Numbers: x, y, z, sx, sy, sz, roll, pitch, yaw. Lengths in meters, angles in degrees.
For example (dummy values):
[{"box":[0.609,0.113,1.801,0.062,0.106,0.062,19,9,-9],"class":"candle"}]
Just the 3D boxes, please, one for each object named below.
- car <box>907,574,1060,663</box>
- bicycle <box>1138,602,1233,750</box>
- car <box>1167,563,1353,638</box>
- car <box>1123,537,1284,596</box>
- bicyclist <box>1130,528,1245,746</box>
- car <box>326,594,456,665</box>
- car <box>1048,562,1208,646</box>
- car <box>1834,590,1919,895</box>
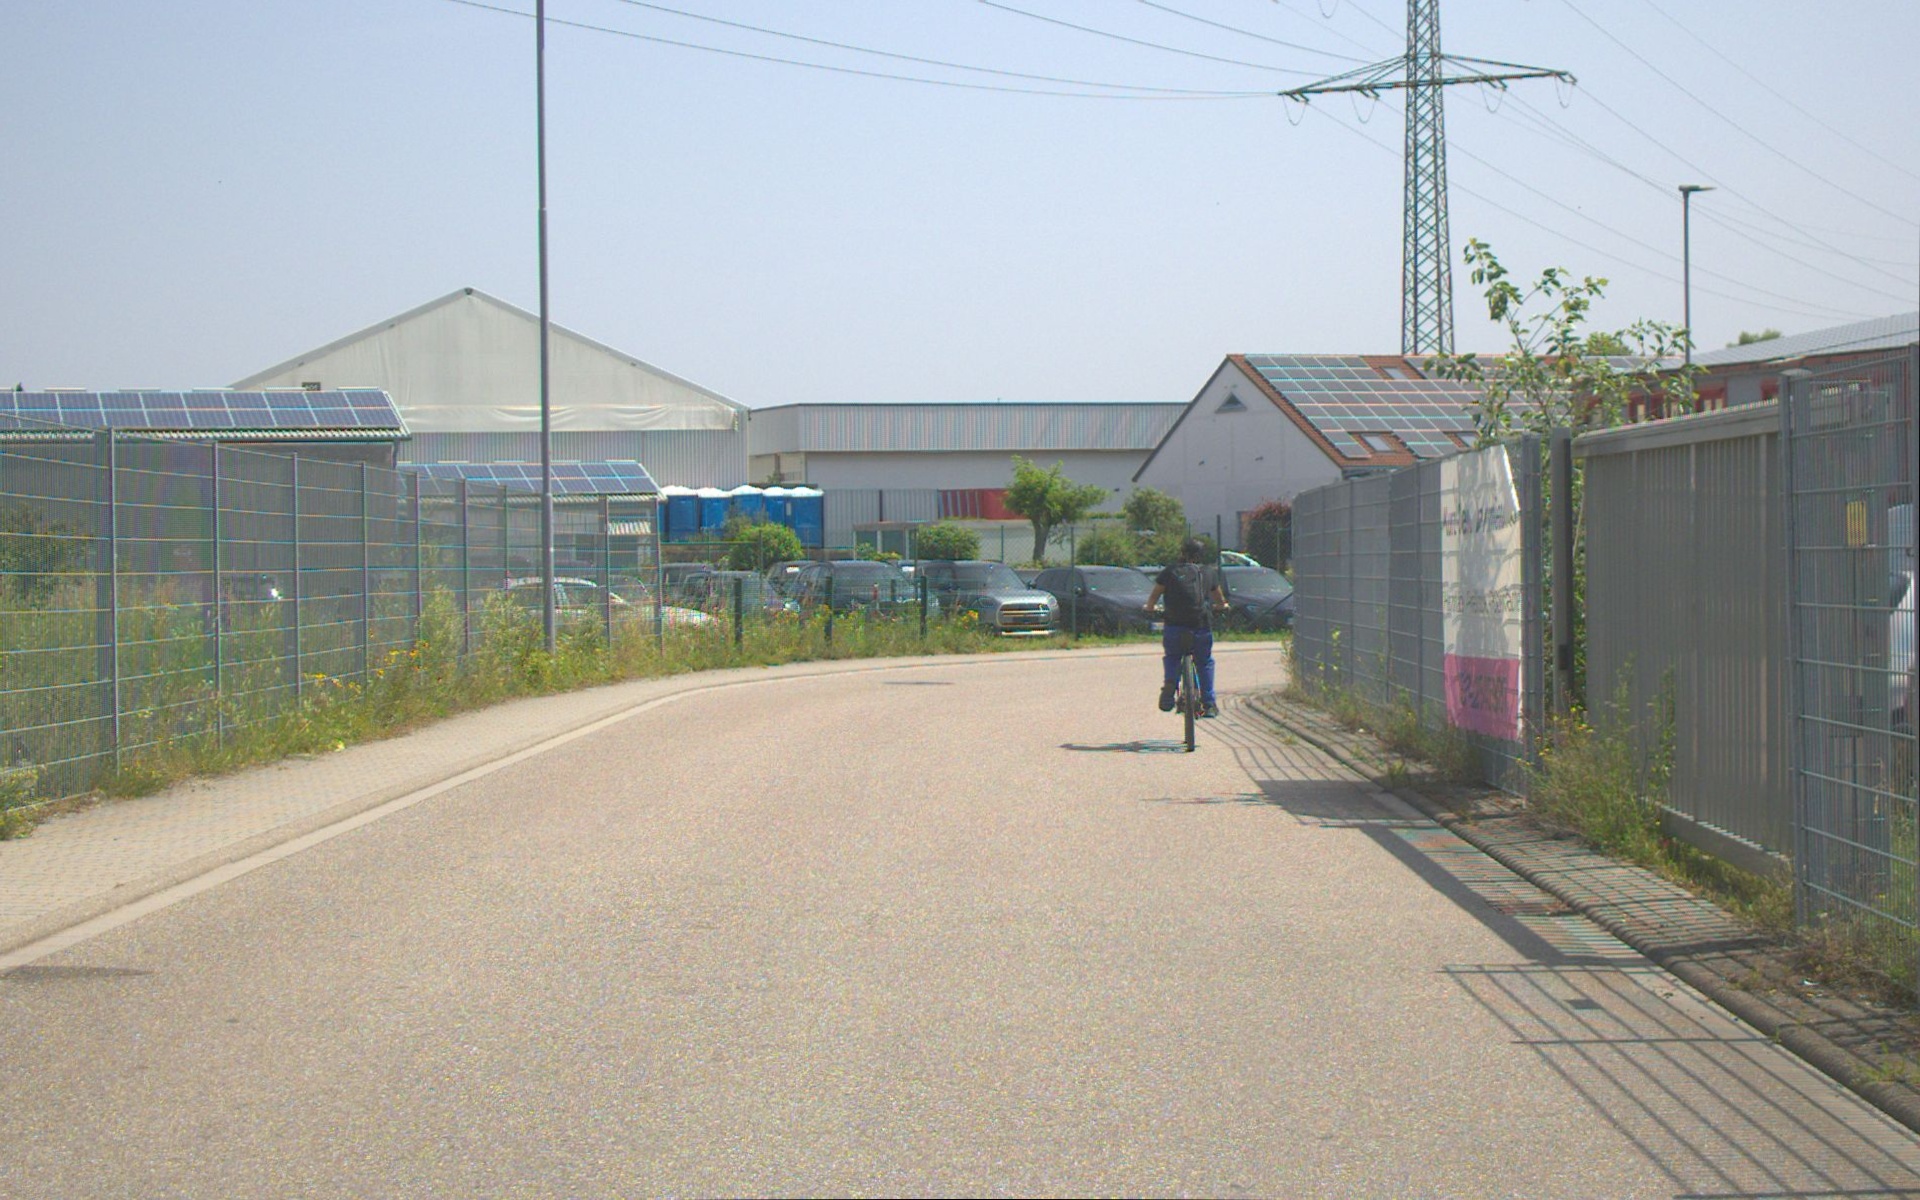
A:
[{"box":[0.413,0.332,65.982,1.862,1.638,3.635,-1,1,-18],"class":"car"},{"box":[1.745,0.563,26.440,0.685,1.048,1.900,1,1,4],"class":"bicycle"},{"box":[5.915,-0.011,68.279,1.995,1.430,4.667,-1,1,-18],"class":"car"},{"box":[6.684,-0.925,94.439,3.986,1.593,1.877,-1,1,-16],"class":"car"},{"box":[1.751,0.265,26.372,0.842,1.613,1.039,1,2,4],"class":"bicyclist"},{"box":[-11.053,0.552,66.608,1.862,1.294,3.442,-1,1,-20],"class":"car"},{"box":[3.220,0.058,66.522,1.862,1.549,3.771,-1,1,-18],"class":"car"},{"box":[6.747,0.772,17.378,4.163,1.469,1.638,2,1,-2],"class":"car"}]
